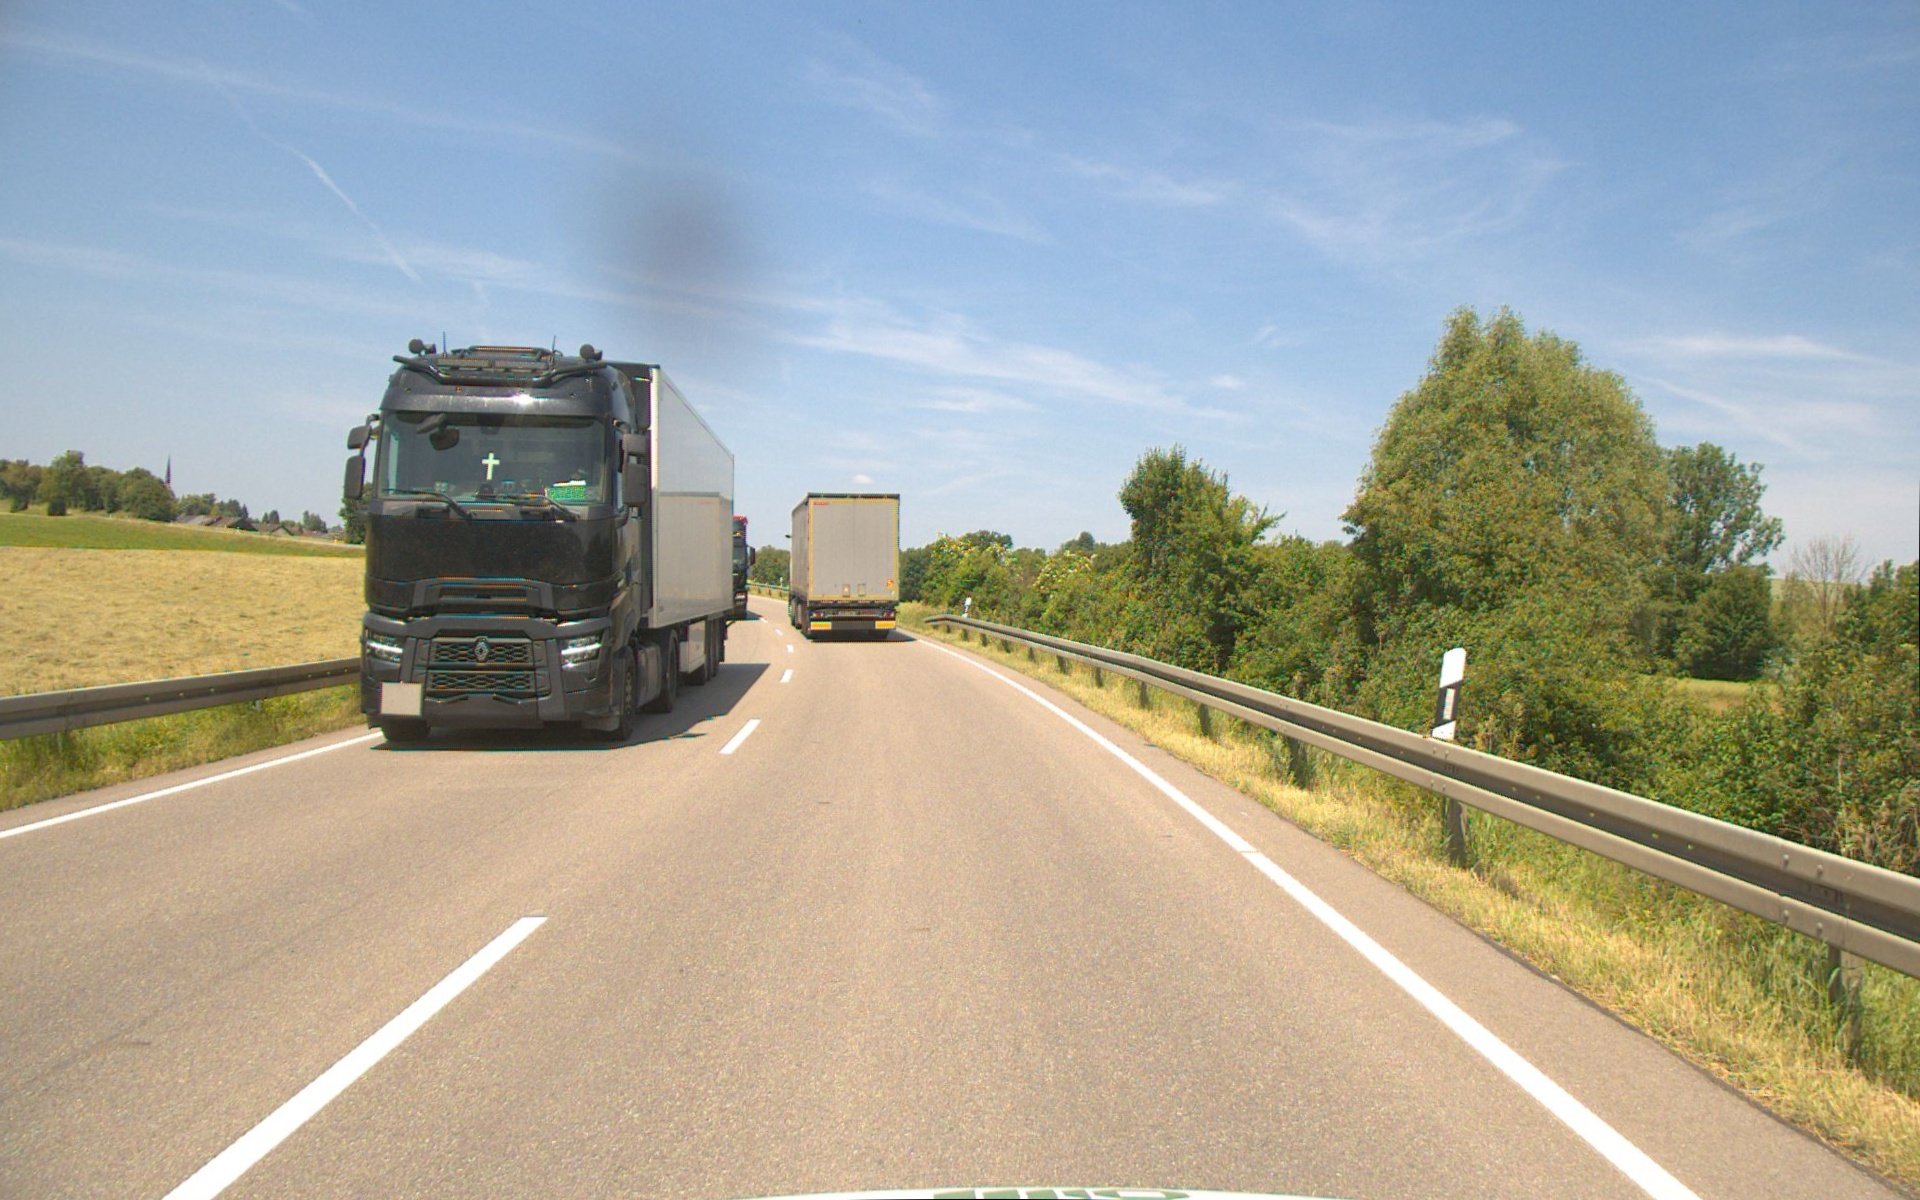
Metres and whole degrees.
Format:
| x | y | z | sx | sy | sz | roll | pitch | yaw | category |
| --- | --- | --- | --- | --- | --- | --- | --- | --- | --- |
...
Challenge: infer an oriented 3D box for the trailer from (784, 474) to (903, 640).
| x | y | z | sx | sy | sz | roll | pitch | yaw | category |
| --- | --- | --- | --- | --- | --- | --- | --- | --- | --- |
| -3.846 | -1.223 | 51.303 | 2.813 | 4.477 | 13.469 | 0 | 1 | -8 | trailer |

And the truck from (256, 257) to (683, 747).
| x | y | z | sx | sy | sz | roll | pitch | yaw | category |
| --- | --- | --- | --- | --- | --- | --- | --- | --- | --- |
| -4.958 | -0.888 | 17.962 | 3.307 | 4.478 | 5.441 | 0 | 0 | -4 | truck |

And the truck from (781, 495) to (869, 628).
| x | y | z | sx | sy | sz | roll | pitch | yaw | category |
| --- | --- | --- | --- | --- | --- | --- | --- | --- | --- |
| -4.821 | -1.324 | 58.377 | 2.806 | 4.477 | 5.062 | 0 | 0 | -8 | truck |

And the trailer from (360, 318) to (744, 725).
| x | y | z | sx | sy | sz | roll | pitch | yaw | category |
| --- | --- | --- | --- | --- | --- | --- | --- | --- | --- |
| -5.412 | -0.905 | 25.213 | 3.307 | 4.477 | 13.735 | 0 | 0 | -4 | trailer |

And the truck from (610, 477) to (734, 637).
| x | y | z | sx | sy | sz | roll | pitch | yaw | category |
| --- | --- | --- | --- | --- | --- | --- | --- | --- | --- |
| -8.213 | -1.178 | 47.793 | 3.181 | 4.222 | 6.639 | 1 | 0 | -8 | truck |
